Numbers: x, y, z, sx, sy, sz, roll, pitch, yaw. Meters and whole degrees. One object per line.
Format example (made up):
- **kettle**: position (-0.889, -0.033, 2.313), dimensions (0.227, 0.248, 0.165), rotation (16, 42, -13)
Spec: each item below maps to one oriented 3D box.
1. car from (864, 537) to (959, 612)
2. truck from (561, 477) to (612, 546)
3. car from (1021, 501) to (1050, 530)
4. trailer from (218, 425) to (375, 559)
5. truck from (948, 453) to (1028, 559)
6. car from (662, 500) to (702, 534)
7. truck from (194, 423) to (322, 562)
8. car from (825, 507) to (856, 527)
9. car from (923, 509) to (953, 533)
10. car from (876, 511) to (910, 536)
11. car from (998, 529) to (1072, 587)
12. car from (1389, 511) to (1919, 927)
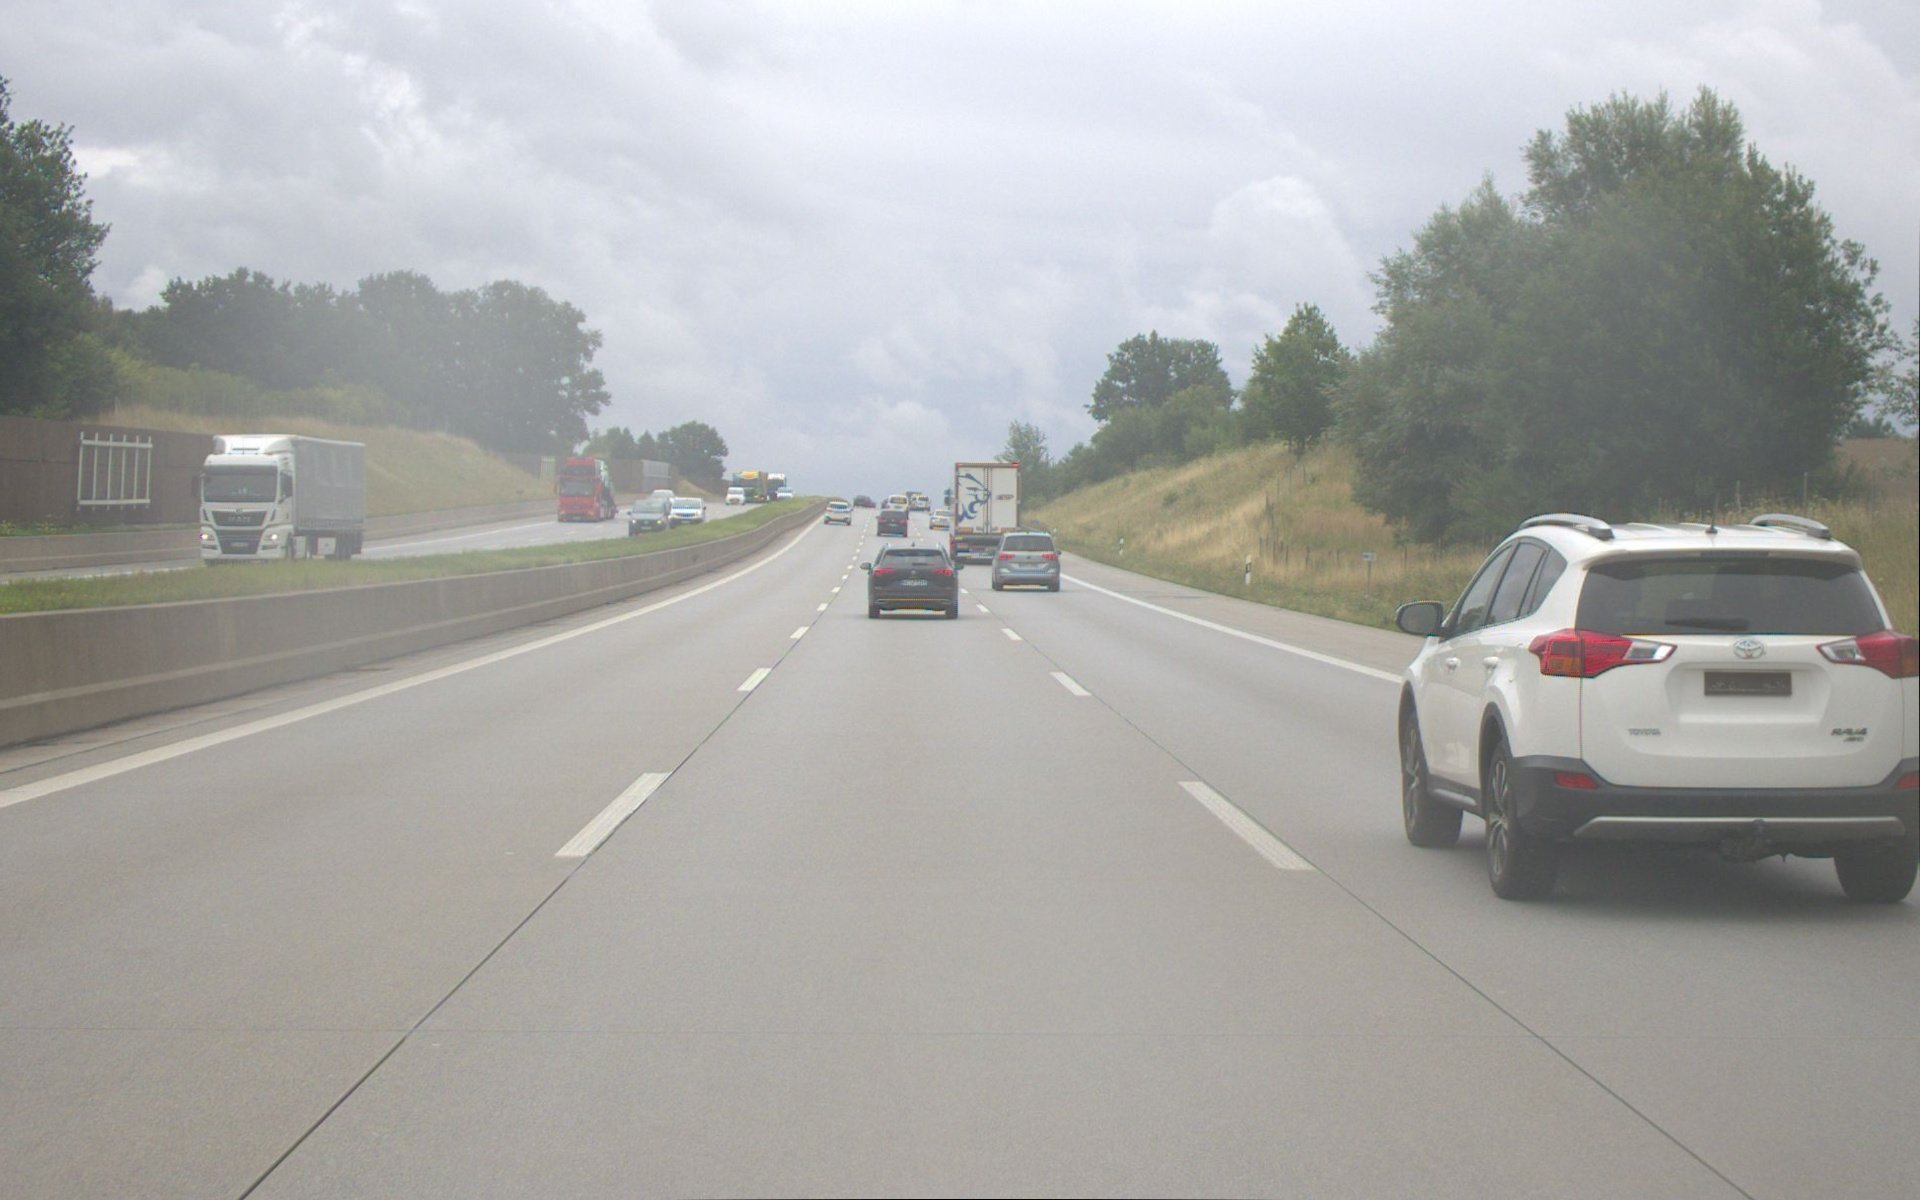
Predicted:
- **car**: position (-0.979, -0.502, 67.067), dimensions (1.752, 1.393, 4.484), rotation (1, 0, -2)
- **truck**: position (-23.572, -5.583, 217.321), dimensions (2.552, 4.237, 7.465), rotation (1, 1, -1)
- **car**: position (5.309, -5.930, 242.307), dimensions (1.993, 2.007, 4.000), rotation (1, 1, 1)
- **trailer**: position (-21.595, -3.445, 112.659), dimensions (2.697, 4.082, 14.007), rotation (1, 1, -1)
- **truck**: position (1.096, -3.778, 139.805), dimensions (3.017, 4.166, 8.354), rotation (1, 1, -1)
- **car**: position (-15.903, -4.743, 197.038), dimensions (1.993, 1.880, 5.514), rotation (1, 1, -2)
- **truck**: position (-21.416, -3.239, 105.199), dimensions (2.682, 4.069, 6.217), rotation (1, 1, -1)
- **car**: position (-8.274, -5.714, 237.945), dimensions (1.947, 1.351, 4.260), rotation (1, 1, 0)
- **car**: position (-1.550, -5.648, 246.230), dimensions (1.993, 1.634, 4.000), rotation (1, 1, 1)
- **car**: position (-4.091, -4.680, 210.145), dimensions (1.935, 1.370, 4.594), rotation (1, 0, 0)
- **car**: position (2.067, -1.167, 95.086), dimensions (1.993, 1.525, 4.000), rotation (1, 1, 1)
- **car**: position (3.215, 0.453, 15.856), dimensions (1.825, 1.650, 3.985), rotation (1, 1, -2)
